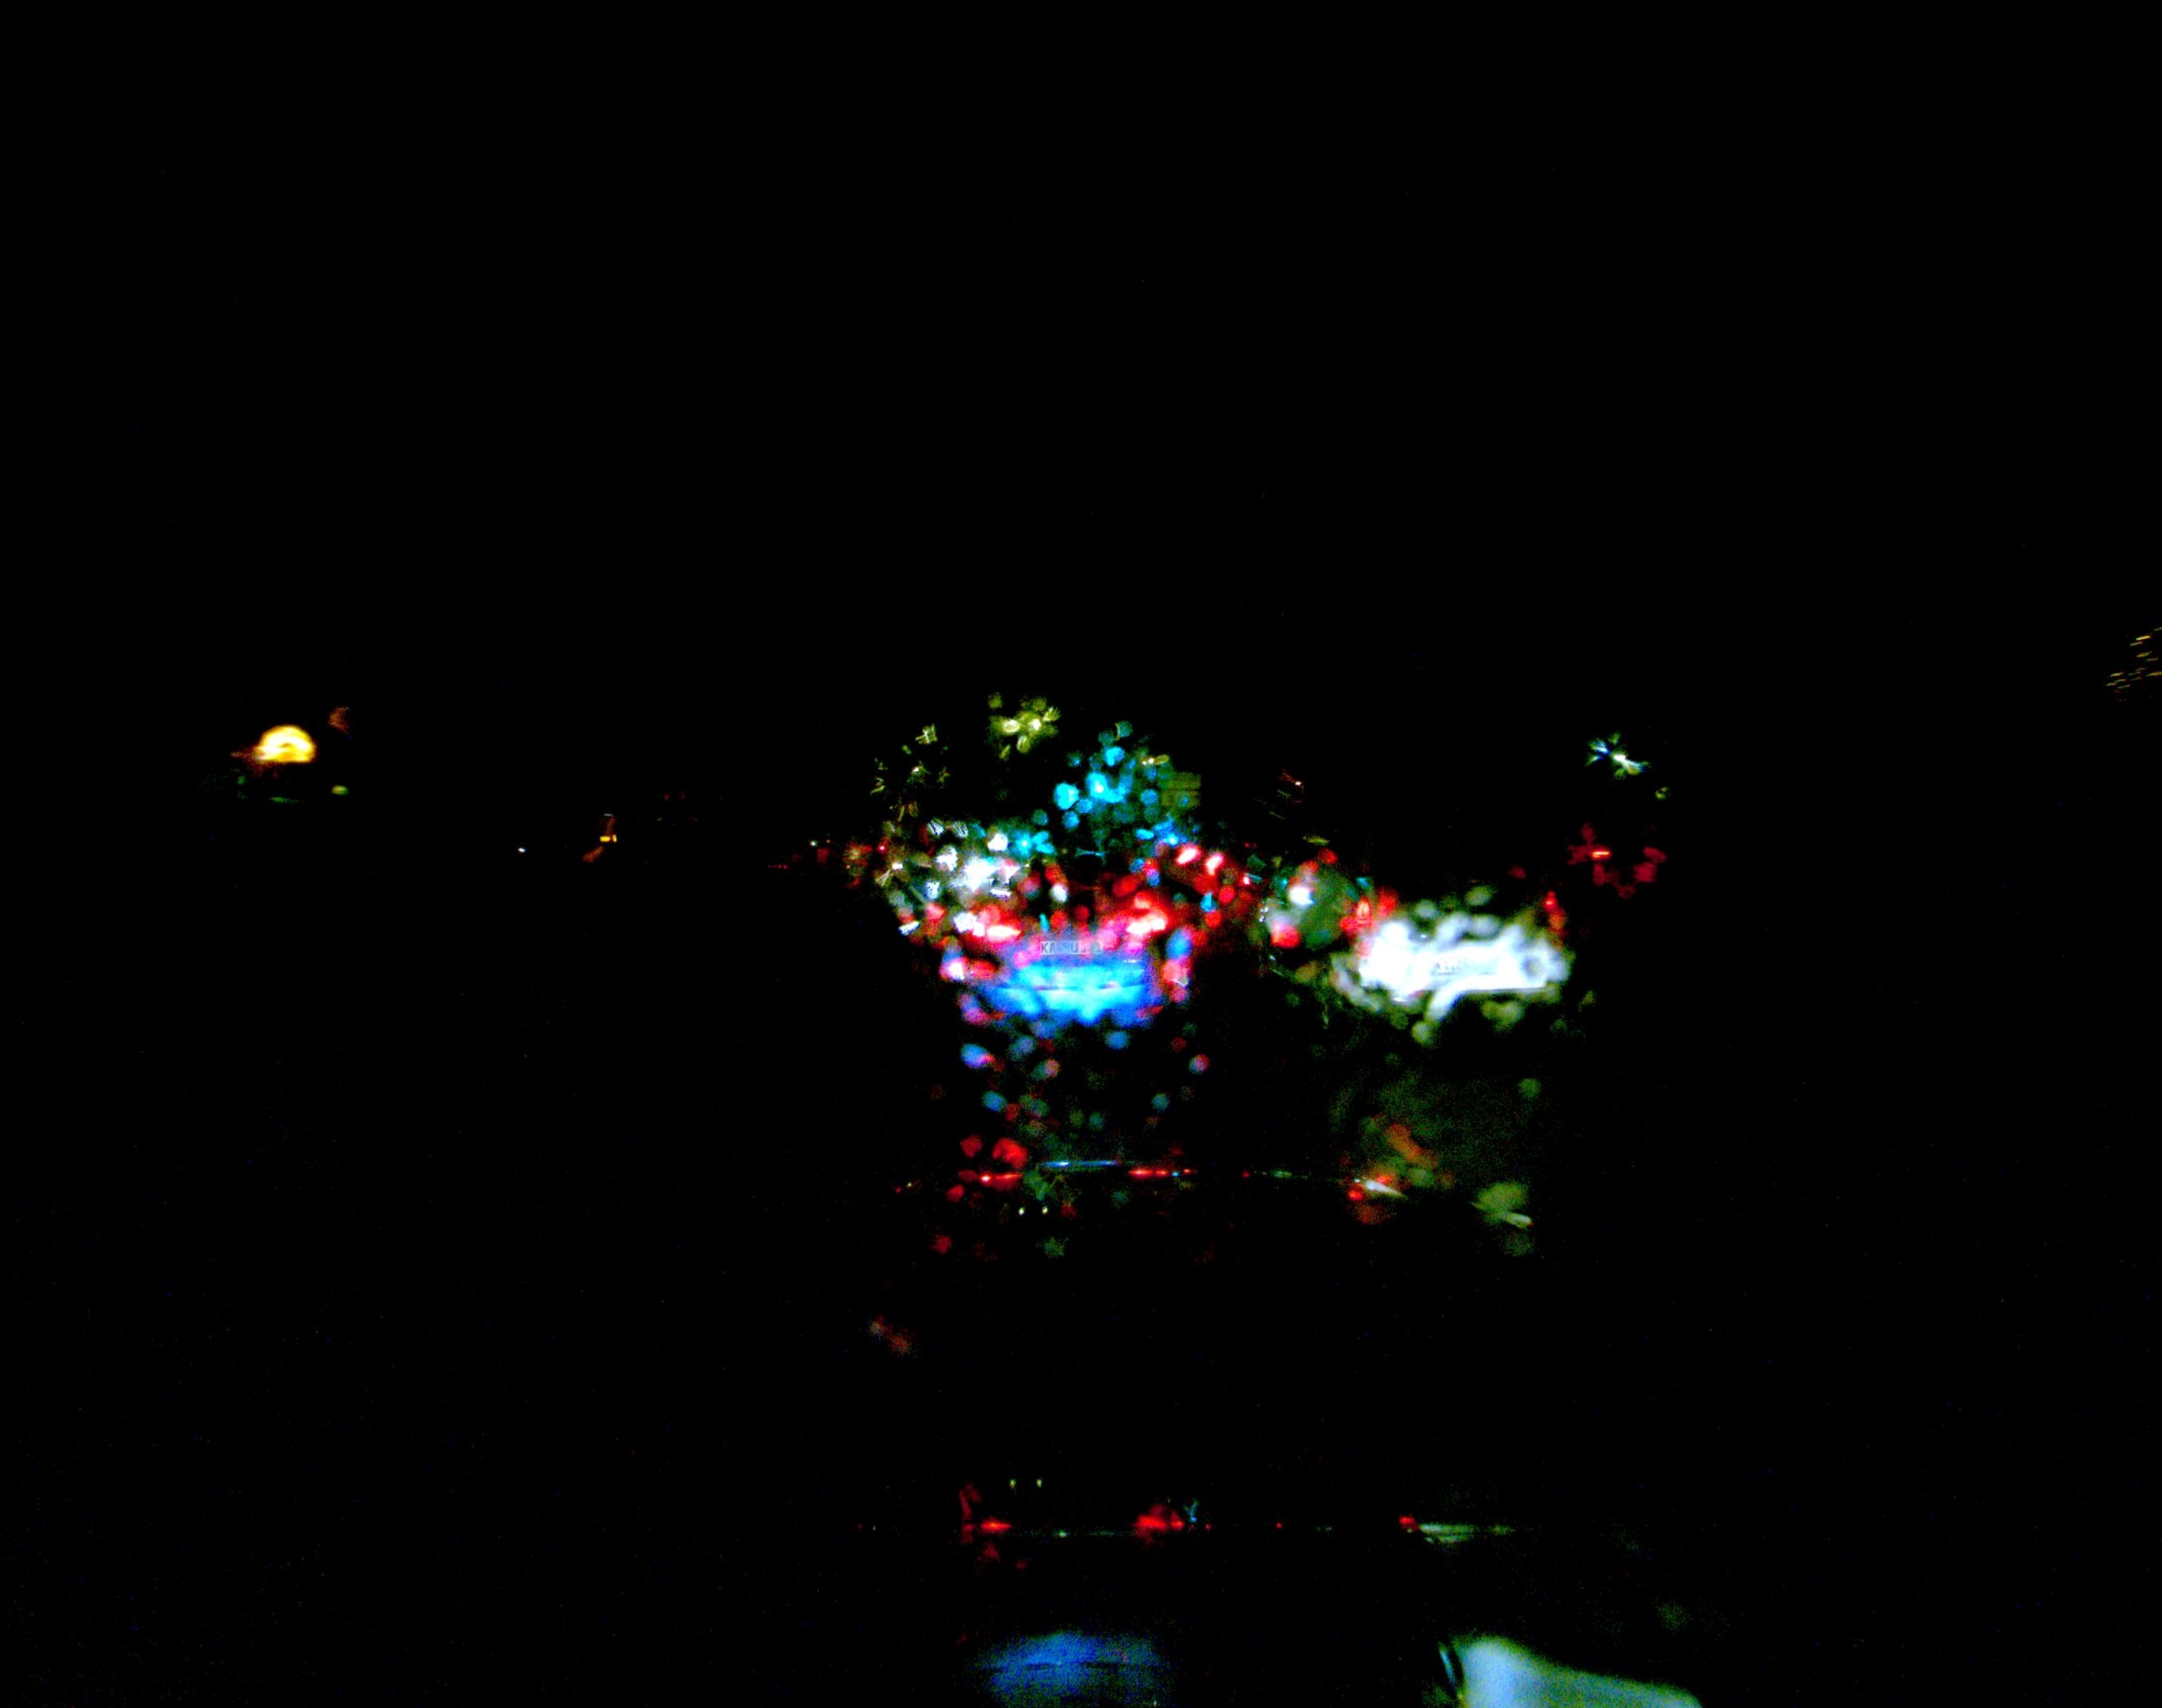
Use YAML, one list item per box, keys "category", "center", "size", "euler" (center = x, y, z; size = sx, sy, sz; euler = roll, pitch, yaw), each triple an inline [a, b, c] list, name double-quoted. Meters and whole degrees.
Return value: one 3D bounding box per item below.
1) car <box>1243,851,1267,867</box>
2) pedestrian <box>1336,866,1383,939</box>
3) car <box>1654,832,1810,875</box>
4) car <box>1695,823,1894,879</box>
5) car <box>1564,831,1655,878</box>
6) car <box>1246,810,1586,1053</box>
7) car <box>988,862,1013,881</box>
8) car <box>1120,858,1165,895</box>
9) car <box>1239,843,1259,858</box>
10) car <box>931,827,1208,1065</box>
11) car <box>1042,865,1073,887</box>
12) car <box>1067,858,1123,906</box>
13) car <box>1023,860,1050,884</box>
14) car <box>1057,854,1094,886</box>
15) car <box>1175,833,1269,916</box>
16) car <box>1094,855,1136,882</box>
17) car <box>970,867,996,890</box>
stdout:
- category: "car"
  center: [18.996, 0.535, 89.082]
  size: [1.857, 1.646, 3.965]
  euler: [-3, -1, 2]
- category: "pedestrian"
  center: [6.591, 1.135, 19.282]
  size: [0.869, 1.702, 0.614]
  euler: [2, -2, -27]
- category: "car"
  center: [22.581, 0.008, 28.441]
  size: [3.950, 1.430, 1.855]
  euler: [0, -1, 26]
- category: "car"
  center: [20.227, -0.066, 23.296]
  size: [3.901, 1.487, 1.773]
  euler: [0, -1, 20]
- category: "car"
  center: [18.413, 0.042, 28.589]
  size: [1.706, 1.483, 4.730]
  euler: [0, -1, 20]
- category: "car"
  center: [3.012, 0.622, 8.437]
  size: [1.845, 1.865, 4.342]
  euler: [0, -1, 2]
- category: "car"
  center: [-8.243, 1.760, 83.166]
  size: [1.997, 1.824, 3.980]
  euler: [0, -1, -14]
- category: "car"
  center: [2.864, 1.045, 38.922]
  size: [1.986, 1.718, 4.001]
  euler: [0, -1, 2]
- category: "car"
  center: [23.717, -0.436, 115.022]
  size: [1.986, 2.014, 4.001]
  euler: [0, -1, 1]
- category: "car"
  center: [-0.131, 0.687, 8.145]
  size: [2.009, 1.717, 4.448]
  euler: [0, -1, -2]
- category: "car"
  center: [-2.102, 1.906, 71.867]
  size: [1.996, 1.820, 3.981]
  euler: [0, -1, -14]
- category: "car"
  center: [0.567, 1.023, 30.978]
  size: [1.986, 1.684, 4.001]
  euler: [0, -1, 2]
- category: "car"
  center: [-3.535, 1.353, 63.527]
  size: [1.990, 1.824, 3.993]
  euler: [0, -1, -5]
- category: "car"
  center: [-0.374, 0.886, 46.551]
  size: [1.989, 1.732, 3.996]
  euler: [0, -1, -2]
- category: "car"
  center: [3.670, 0.526, 21.911]
  size: [1.961, 2.047, 4.001]
  euler: [0, -1, 2]
- category: "car"
  center: [2.238, 0.951, 54.225]
  size: [1.994, 1.670, 3.985]
  euler: [0, -1, -10]
- category: "car"
  center: [-9.141, 2.241, 75.499]
  size: [2.016, 1.887, 4.434]
  euler: [1, 1, -12]
